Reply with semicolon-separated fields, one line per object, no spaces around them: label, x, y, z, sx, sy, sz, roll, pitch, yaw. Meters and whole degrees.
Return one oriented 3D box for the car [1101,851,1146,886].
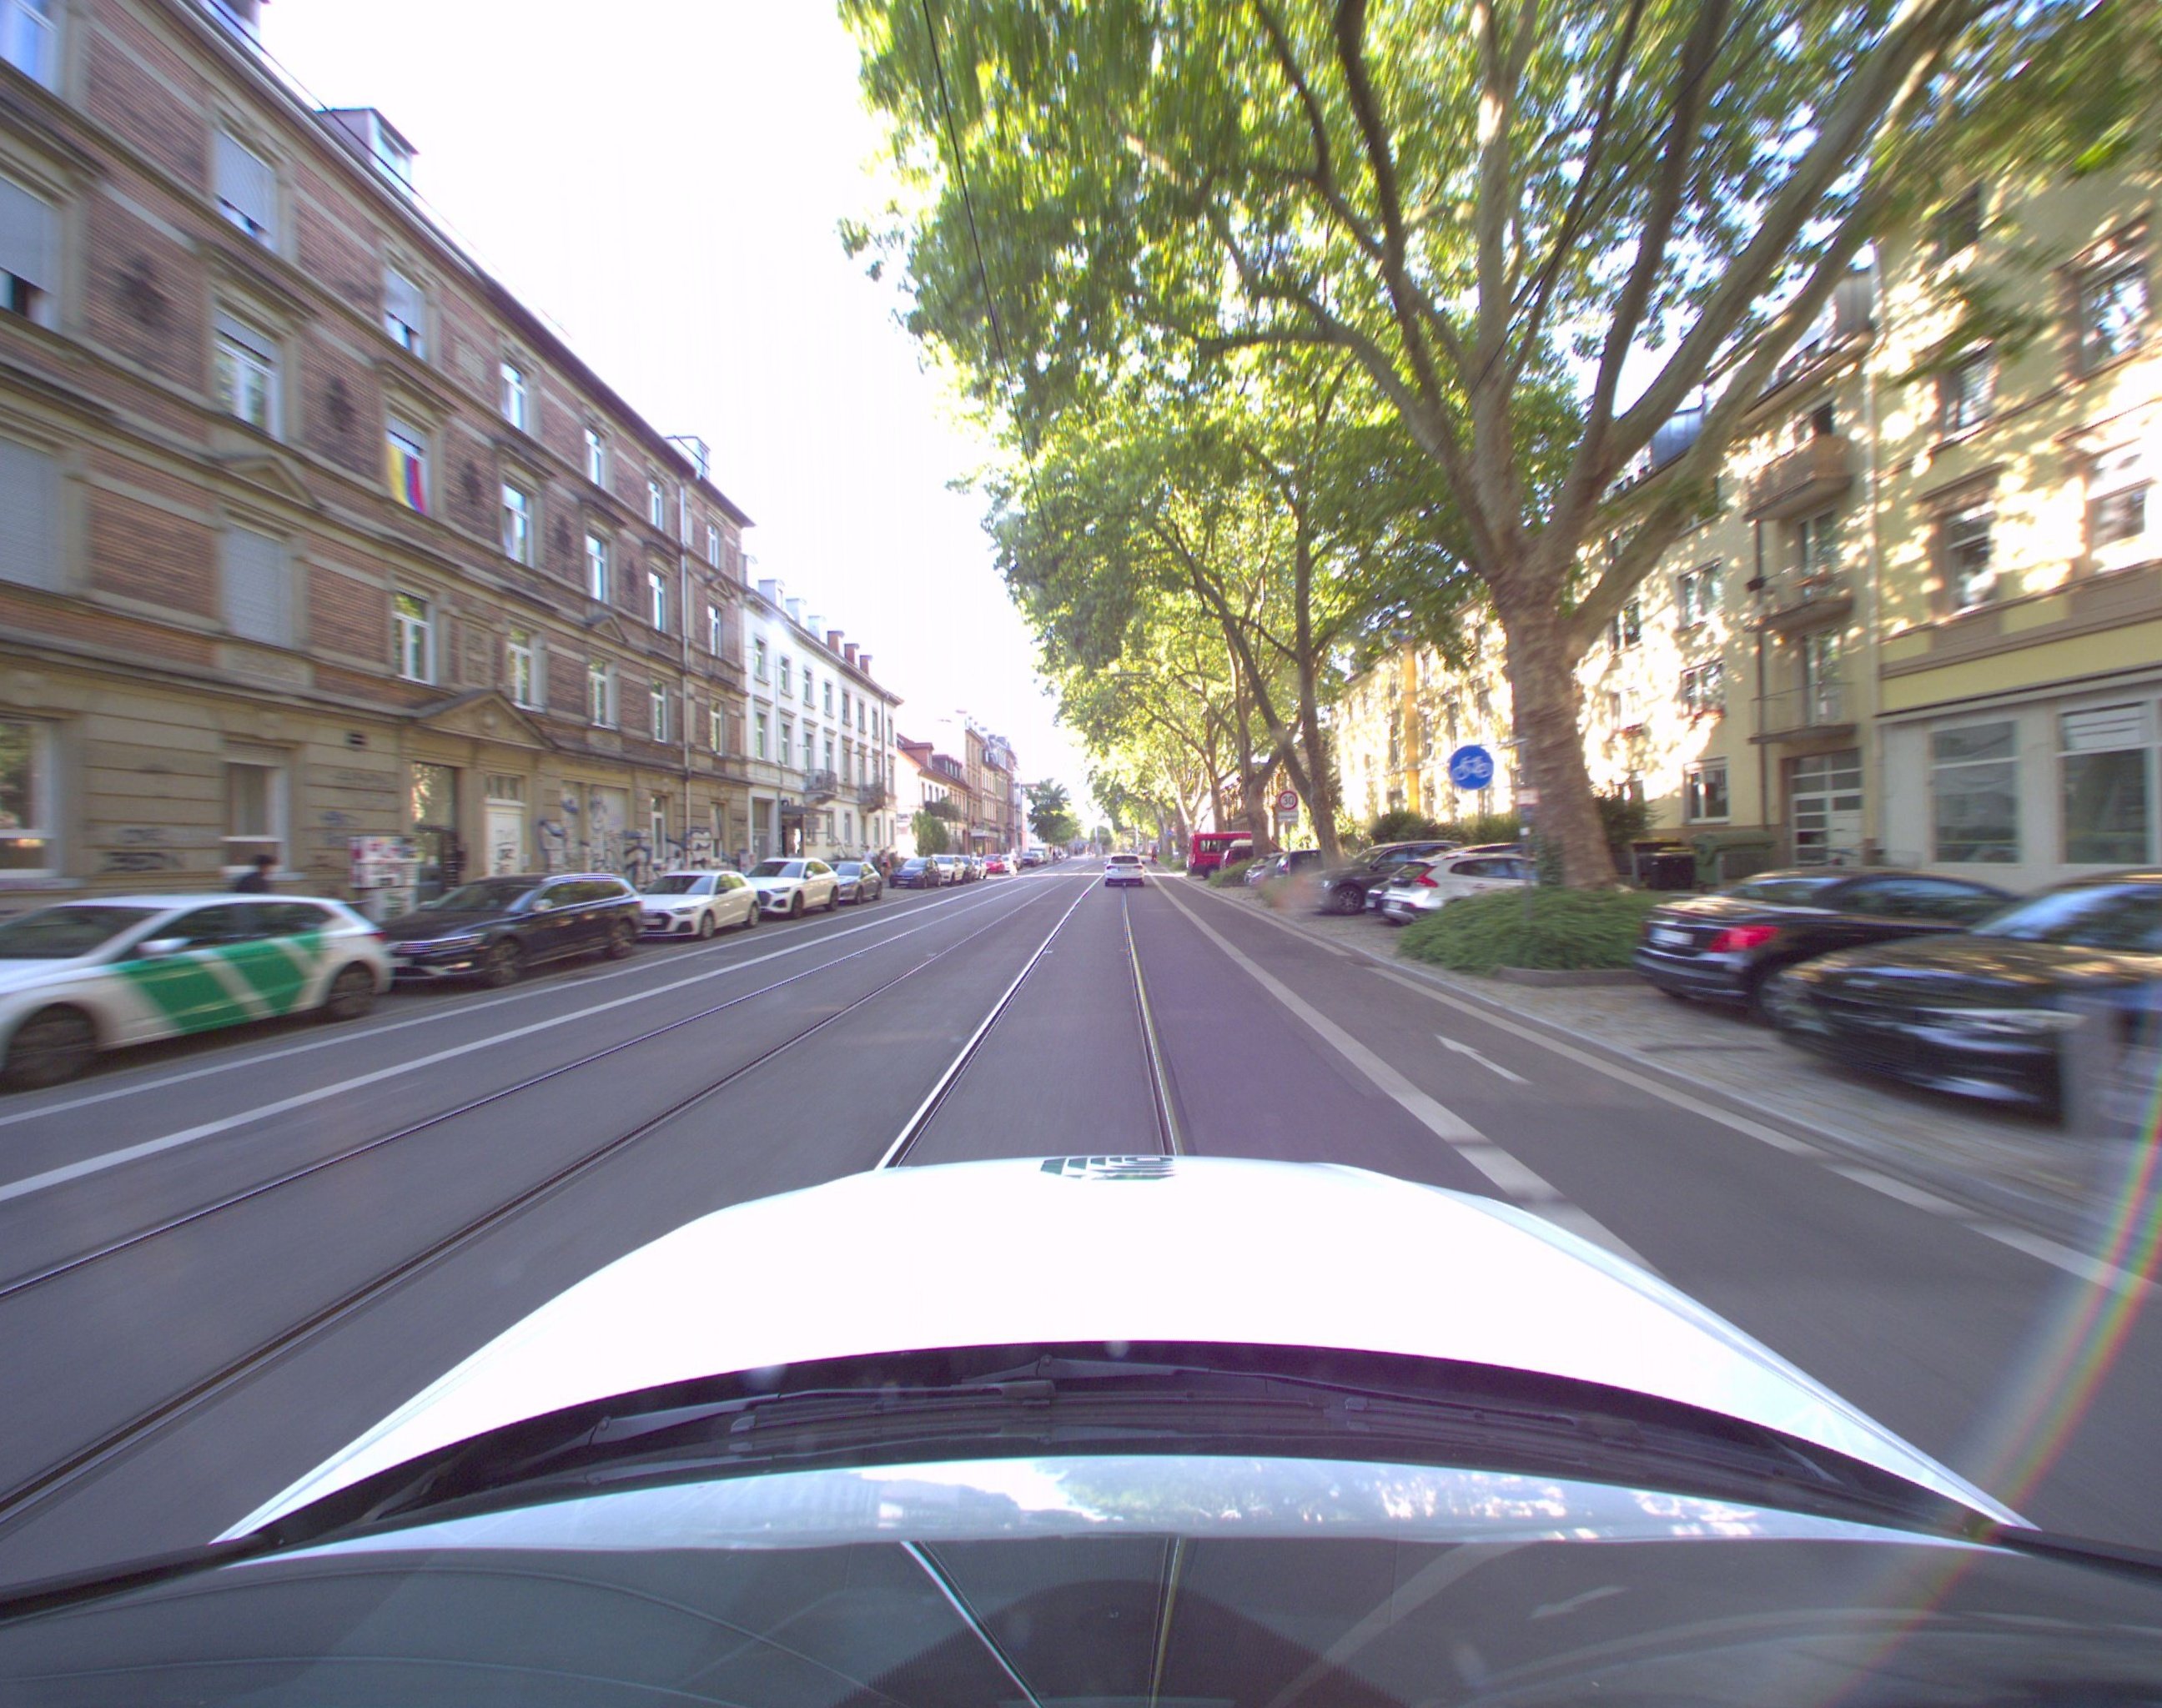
car;1.827;0.610;36.289;1.836;1.480;3.838;0;0;0

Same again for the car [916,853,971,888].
car;-7.344;0.825;43.911;1.849;1.703;4.767;-2;0;3

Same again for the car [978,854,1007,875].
car;-7.006;0.779;64.852;1.561;1.562;3.455;-2;0;6

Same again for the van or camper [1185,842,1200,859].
van or camper;16.980;-0.523;124.125;2.018;2.464;5.114;0;0;4

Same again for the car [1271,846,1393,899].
car;8.266;0.597;27.010;3.581;1.599;1.542;-2;-1;2

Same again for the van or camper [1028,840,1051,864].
van or camper;-5.510;-0.262;109.988;2.207;3.140;7.121;0;0;4

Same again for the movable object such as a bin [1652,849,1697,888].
movable object such as a bin;15.002;0.354;20.592;0.745;0.943;0.466;-3;0;2

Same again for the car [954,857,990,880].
car;-7.248;0.939;54.704;1.680;1.477;4.260;0;0;2

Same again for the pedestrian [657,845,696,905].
pedestrian;-11.585;0.589;23.329;0.656;1.665;0.773;0;0;34

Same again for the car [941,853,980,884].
car;-7.275;0.828;49.606;1.852;1.703;4.654;-2;0;-3

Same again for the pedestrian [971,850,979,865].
pedestrian;-11.113;0.351;85.739;0.773;1.634;0.654;0;0;-14

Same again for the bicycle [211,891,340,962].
bicycle;-13.788;1.207;14.009;0.371;1.034;1.848;-1;0;0

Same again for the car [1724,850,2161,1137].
car;7.033;0.754;5.416;4.083;1.491;1.830;-1;0;-1

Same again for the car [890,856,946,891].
car;-7.733;0.879;38.998;1.547;1.515;3.929;-2;0;5

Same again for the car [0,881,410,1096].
car;-8.960;1.073;7.747;1.734;1.492;4.046;0;0;1

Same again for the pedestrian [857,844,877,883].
pedestrian;-11.380;0.505;43.342;0.757;2.013;0.830;-1;0;0

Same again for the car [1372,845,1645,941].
car;7.577;0.662;14.693;4.014;1.480;1.681;-2;0;0

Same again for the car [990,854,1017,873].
car;-6.667;0.788;70.411;1.821;1.502;4.688;0;0;0

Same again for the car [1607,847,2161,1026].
car;7.698;0.731;7.858;4.075;1.491;1.684;-1;0;6

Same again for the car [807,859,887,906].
car;-8.200;0.953;28.896;1.657;1.521;4.064;0;0;0

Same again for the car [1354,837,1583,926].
car;8.081;0.551;17.217;4.014;1.643;1.681;-2;0;0

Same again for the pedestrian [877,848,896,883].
pedestrian;-10.314;0.599;43.252;0.757;1.821;0.830;-1;0;-1

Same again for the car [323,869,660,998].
car;-8.753;1.052;12.780;1.734;1.562;4.787;0;0;1

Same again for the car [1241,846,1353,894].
car;7.792;0.550;29.566;3.581;1.517;1.694;-3;0;2

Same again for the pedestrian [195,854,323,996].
pedestrian;-10.976;0.907;10.916;0.683;1.801;1.054;0;0;-7

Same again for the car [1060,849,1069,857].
car;-3.556;-0.280;173.692;1.787;1.726;3.785;0;0;1

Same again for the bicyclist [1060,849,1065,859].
bicyclist;-2.663;-0.013;117.233;0.635;1.503;1.071;-2;0;3

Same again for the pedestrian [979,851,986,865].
pedestrian;-10.413;0.437;85.939;0.636;1.460;0.654;0;0;-14

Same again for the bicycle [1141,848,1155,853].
bicycle;13.373;-0.655;162.515;2.748;0.999;0.595;0;0;17

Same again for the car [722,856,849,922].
car;-8.361;0.916;23.559;1.779;1.723;4.721;0;0;2

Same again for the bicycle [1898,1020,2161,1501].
bicycle;2.847;1.042;1.323;0.593;1.004;2.513;1;0;2

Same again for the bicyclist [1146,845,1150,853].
bicyclist;13.403;-1.023;162.521;0.731;1.589;0.589;-2;0;14

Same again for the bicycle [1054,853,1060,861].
bicycle;-3.293;0.422;111.552;0.482;1.047;2.042;-3;0;4

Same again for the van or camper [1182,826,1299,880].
van or camper;8.517;-0.062;43.870;5.796;2.519;2.288;-3;1;0

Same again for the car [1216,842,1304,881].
car;8.565;0.375;39.201;3.807;1.649;1.767;-3;-1;-1

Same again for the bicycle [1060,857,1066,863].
bicycle;-2.593;0.855;117.387;0.496;0.943;1.924;-3;0;4

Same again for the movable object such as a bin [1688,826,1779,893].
movable object such as a bin;15.075;0.126;18.859;1.162;1.437;1.118;-3;0;2

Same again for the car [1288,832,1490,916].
car;7.554;0.465;20.269;4.249;1.719;1.849;-4;0;-1

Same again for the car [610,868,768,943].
car;-8.569;1.066;18.211;1.695;1.420;3.997;0;0;-2

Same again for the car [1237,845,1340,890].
car;8.239;0.513;32.617;3.656;1.523;1.694;-4;0;2

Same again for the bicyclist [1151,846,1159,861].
bicyclist;6.529;-0.069;72.185;0.676;1.339;0.525;0;0;2

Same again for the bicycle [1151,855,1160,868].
bicycle;6.528;0.627;71.768;0.677;1.155;2.966;0;0;3

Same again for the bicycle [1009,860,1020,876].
bicycle;-4.597;0.961;56.474;0.479;1.086;1.848;-2;0;3

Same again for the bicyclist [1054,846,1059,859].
bicyclist;-3.333;-0.206;111.653;0.533;1.634;0.897;-3;0;4

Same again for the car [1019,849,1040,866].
car;-5.743;0.396;92.012;1.957;1.781;4.938;1;0;1

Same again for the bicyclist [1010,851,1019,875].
bicyclist;-4.594;0.645;56.602;0.471;1.636;0.800;-2;0;3
